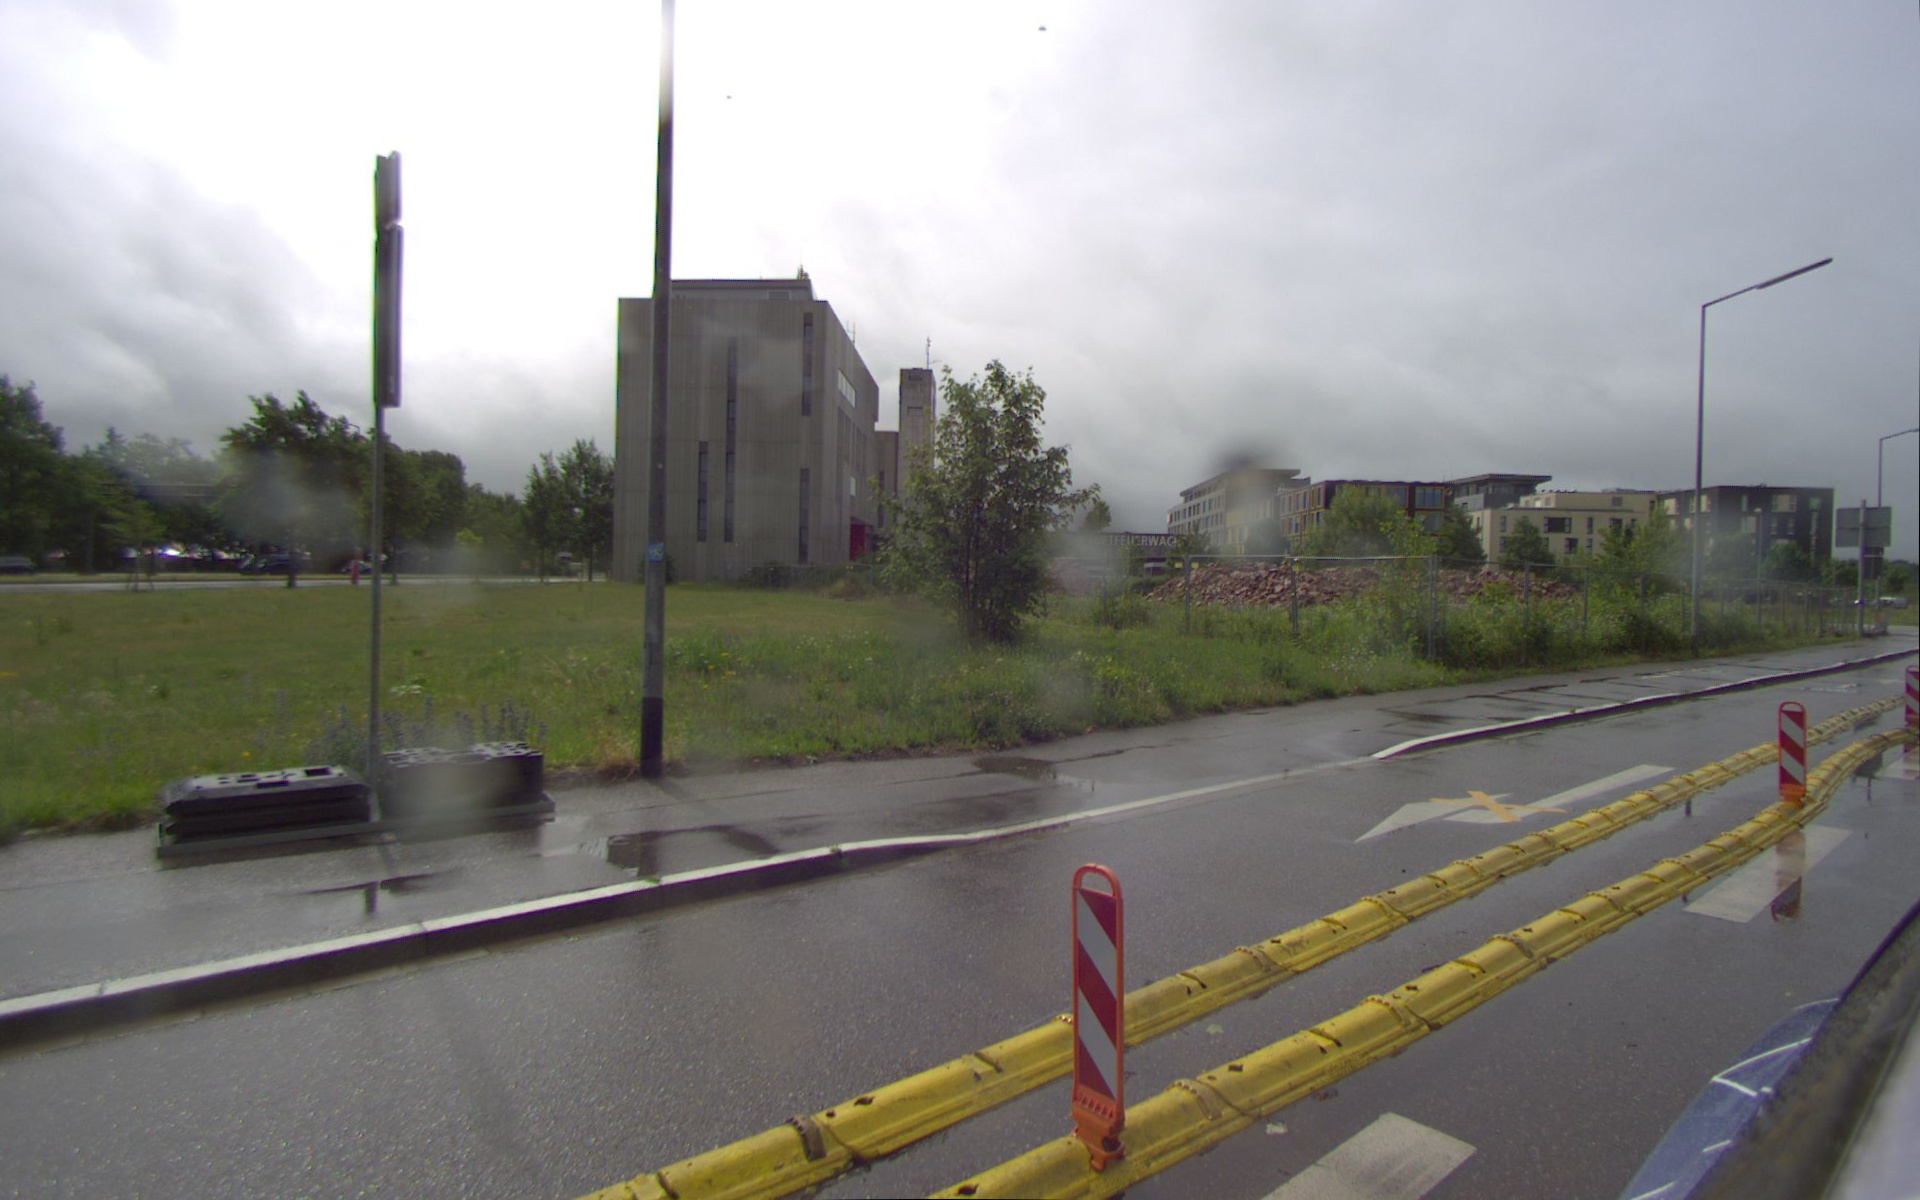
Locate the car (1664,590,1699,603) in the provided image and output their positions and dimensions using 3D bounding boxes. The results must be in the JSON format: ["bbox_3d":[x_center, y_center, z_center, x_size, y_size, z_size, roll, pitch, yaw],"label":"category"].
[{"bbox_3d":[90.357,-0.466,126.741,3.591,1.603,1.652,1,1,-17],"label":"car"}]

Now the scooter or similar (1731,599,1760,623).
[{"bbox_3d":[40.618,0.566,52.333,0.473,1.164,1.196,1,1,-7],"label":"scooter or similar"}]

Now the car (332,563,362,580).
[{"bbox_3d":[-57.959,-2.700,95.641,3.511,1.578,1.520,2,2,42],"label":"car"}]

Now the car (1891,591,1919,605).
[{"bbox_3d":[139.646,-0.247,148.517,3.930,2.039,1.997,1,1,6],"label":"car"}]

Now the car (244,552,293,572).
[{"bbox_3d":[-57.099,-3.145,83.639,1.515,1.578,3.521,1,1,3],"label":"car"}]

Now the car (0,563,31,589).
[{"bbox_3d":[-58.730,-1.451,60.964,1.515,1.578,4.232,1,1,3],"label":"car"}]
